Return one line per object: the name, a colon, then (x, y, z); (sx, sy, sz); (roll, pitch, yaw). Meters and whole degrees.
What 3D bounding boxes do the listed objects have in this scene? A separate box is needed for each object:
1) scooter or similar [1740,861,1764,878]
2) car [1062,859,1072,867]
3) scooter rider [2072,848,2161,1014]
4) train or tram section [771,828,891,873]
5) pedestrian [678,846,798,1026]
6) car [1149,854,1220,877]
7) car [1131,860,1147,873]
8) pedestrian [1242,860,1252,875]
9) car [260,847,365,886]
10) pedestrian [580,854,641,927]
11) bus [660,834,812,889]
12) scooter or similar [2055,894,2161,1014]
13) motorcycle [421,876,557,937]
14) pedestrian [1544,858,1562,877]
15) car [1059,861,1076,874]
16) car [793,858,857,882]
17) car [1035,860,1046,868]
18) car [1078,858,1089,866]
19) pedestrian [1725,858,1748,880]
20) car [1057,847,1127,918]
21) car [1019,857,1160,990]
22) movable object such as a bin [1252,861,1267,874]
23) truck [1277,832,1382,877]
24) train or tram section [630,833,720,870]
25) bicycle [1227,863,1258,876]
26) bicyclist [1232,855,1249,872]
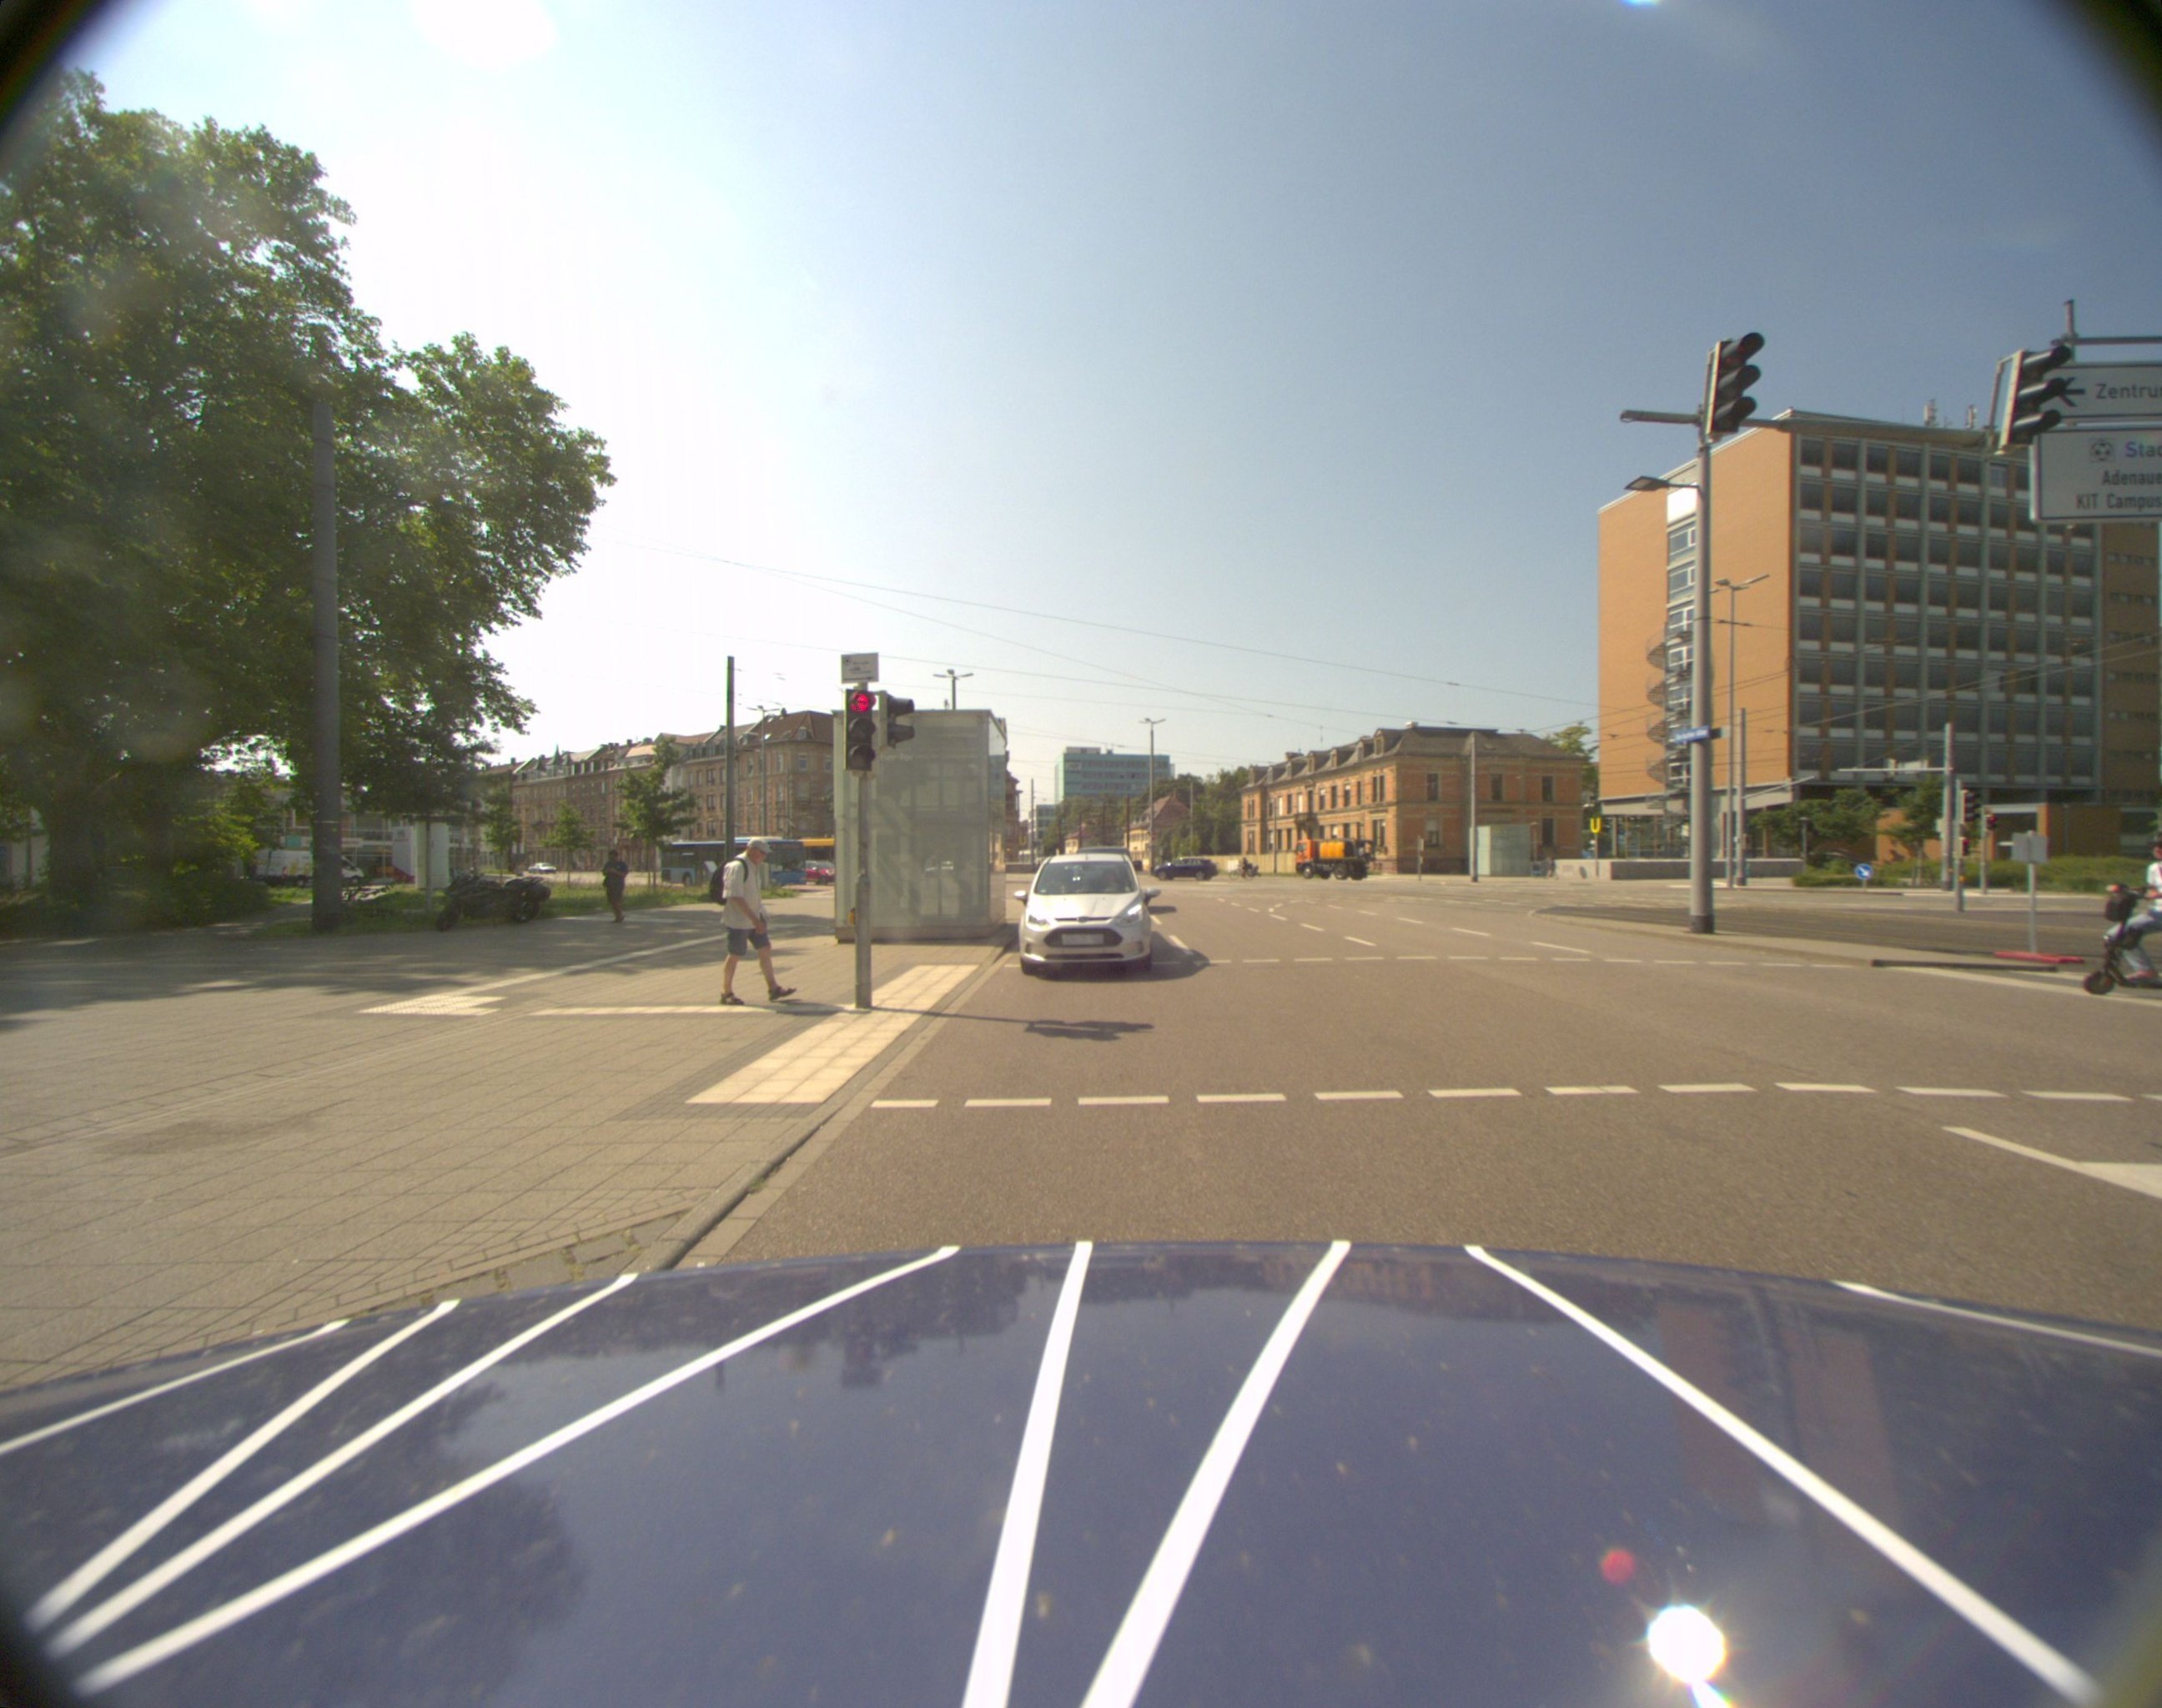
scooter or similar: (46.618, 1.069, 52.805); (1.143, 1.150, 0.444); (0, 0, 16)
car: (-3.515, 2.272, 187.192); (2.000, 1.892, 3.999); (0, -2, -7)
scooter rider: (11.175, 0.770, 7.876); (0.773, 1.663, 0.779); (0, 0, -2)
train or tram section: (-21.088, -0.265, 63.552); (12.182, 3.539, 2.601); (0, 0, 34)
pedestrian: (-3.605, 0.825, 8.057); (0.821, 1.797, 0.814); (-2, 1, 2)
car: (7.443, 0.824, 54.754); (4.688, 1.631, 2.003); (0, 0, 23)
car: (9.300, 1.962, 122.525); (1.999, 2.001, 4.000); (0, -2, -4)
pedestrian: (14.928, 1.202, 68.336); (0.815, 1.343, 0.720); (0, 0, 9)
car: (-53.106, 0.908, 52.653); (1.847, 2.568, 5.219); (0, -2, 2)
pedestrian: (-10.638, 0.803, 17.207); (0.793, 1.600, 0.949); (0, 1, -1)
bus: (-21.178, 0.457, 46.115); (12.047, 3.046, 2.740); (0, 0, 36)
scooter or similar: (11.212, 1.022, 7.853); (1.341, 1.142, 0.709); (1, 0, 0)
motorcycle: (-12.345, 1.050, 15.953); (0.911, 1.130, 2.114); (0, 0, 14)
pedestrian: (34.338, 0.988, 55.279); (0.847, 1.386, 0.787); (0, 0, 4)
car: (-1.518, 1.526, 84.277); (1.588, 1.280, 3.727); (1, -2, -6)
car: (-16.591, 1.023, 49.272); (3.763, 1.463, 1.632); (0, 0, 22)
car: (-6.978, 1.701, 130.140); (1.375, 1.389, 3.253); (0, -2, -12)
car: (0.628, 1.895, 169.423); (2.000, 1.673, 3.999); (0, -2, -7)
pedestrian: (42.678, 0.981, 49.499); (0.847, 1.386, 0.787); (0, 0, 4)
car: (0.420, 0.768, 23.084); (1.899, 1.919, 4.886); (0, 0, 3)
car: (0.069, 0.844, 11.331); (1.692, 1.585, 4.360); (0, 0, -1)
movable object such as a bin: (15.948, 1.202, 67.826); (1.035, 1.078, 0.822); (-2, -2, 43)
truck: (19.063, 0.133, 58.714); (3.049, 3.209, 7.173); (1, -2, -38)
train or tram section: (-41.326, -0.215, 77.110); (12.182, 3.539, 2.601); (0, 0, 34)
bicycle: (12.026, 1.150, 56.739); (2.165, 0.893, 0.643); (0, 0, 25)
bicyclist: (11.926, 0.738, 56.747); (1.103, 1.258, 0.858); (0, 0, 23)
